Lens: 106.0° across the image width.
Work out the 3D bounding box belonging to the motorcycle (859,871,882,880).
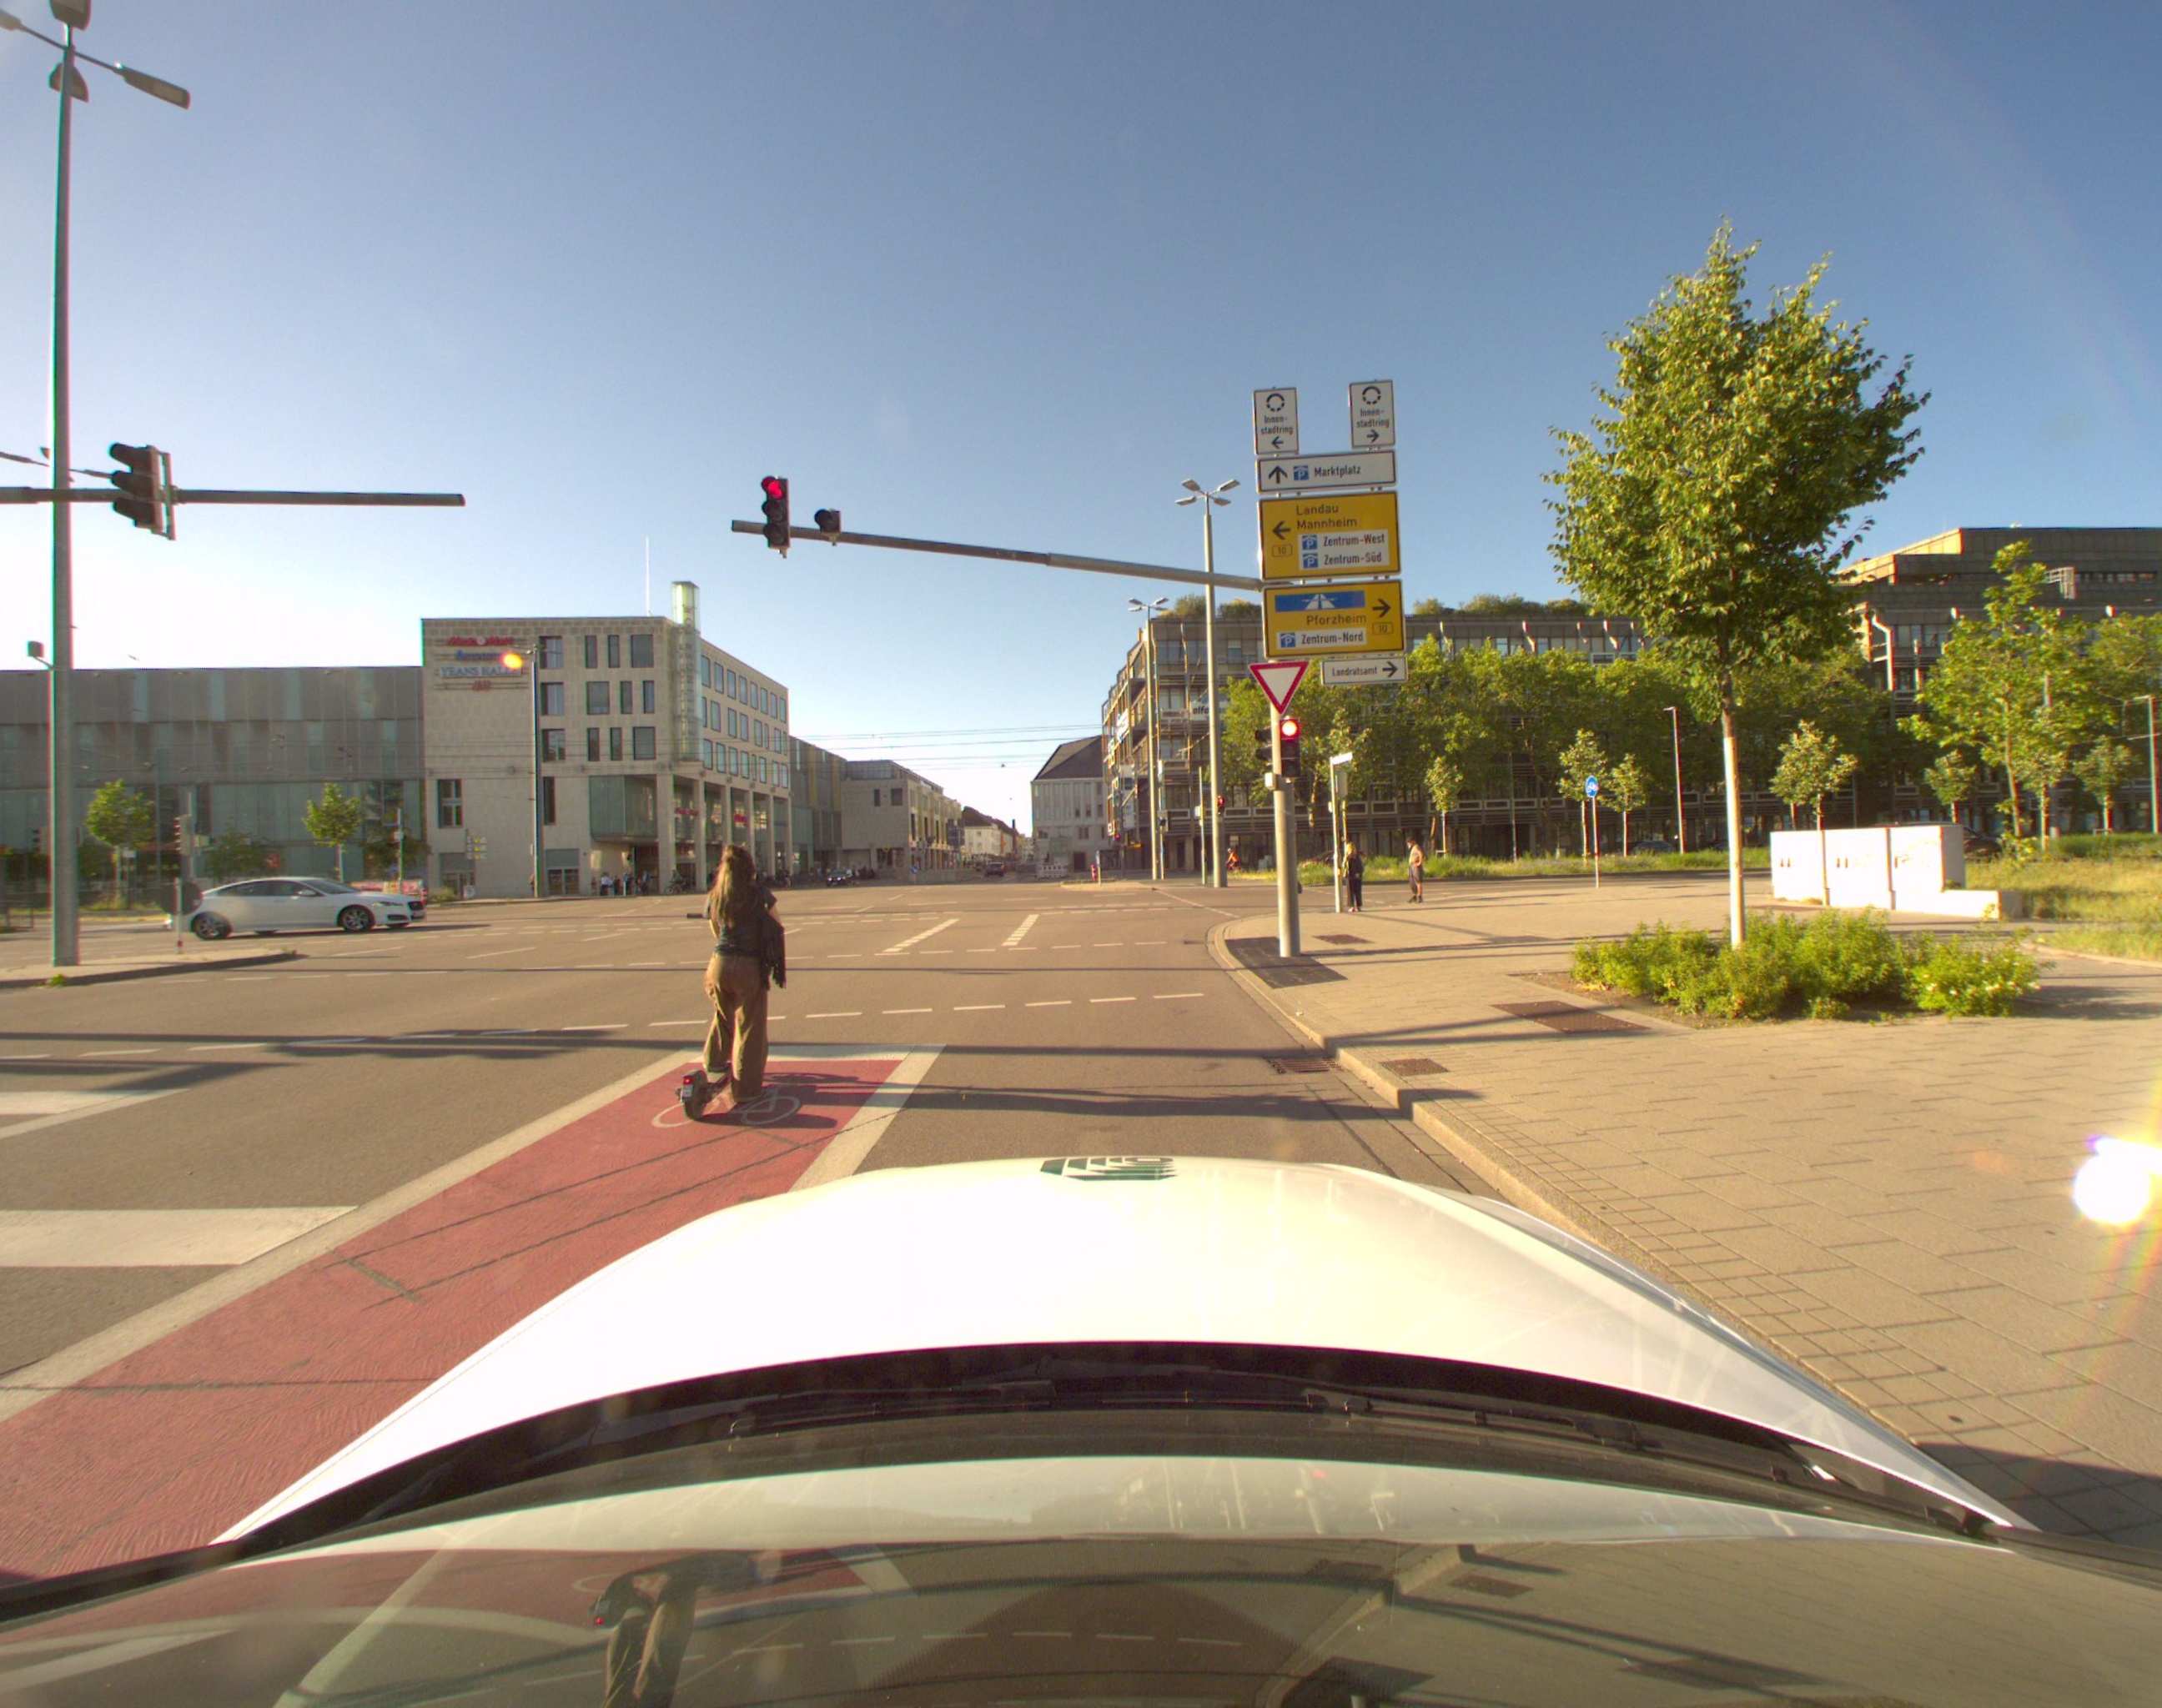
[{"bbox_3d":[-25.546,2.604,98.722,2.600,0.993,1.113,0,-1,-8],"label":"motorcycle"}]

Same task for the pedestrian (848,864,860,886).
[{"bbox_3d":[-17.739,1.657,63.760,0.697,1.688,0.620,-2,0,2],"label":"pedestrian"}]

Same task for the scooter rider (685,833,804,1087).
[{"bbox_3d":[-2.138,0.645,5.218,0.552,1.530,0.448,-2,0,-7],"label":"scooter rider"}]

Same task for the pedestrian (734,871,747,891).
[{"bbox_3d":[-28.141,2.249,67.311,0.771,1.638,0.628,-2,0,16],"label":"pedestrian"}]

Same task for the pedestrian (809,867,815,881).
[{"bbox_3d":[-32.343,2.379,97.940,0.465,1.729,0.524,-1,-1,40],"label":"pedestrian"}]

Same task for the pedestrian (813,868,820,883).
[{"bbox_3d":[-30.899,2.505,95.296,0.465,1.729,0.632,-1,-1,35],"label":"pedestrian"}]

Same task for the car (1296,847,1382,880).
[{"bbox_3d":[14.621,0.526,46.225,4.287,1.684,1.820,-2,0,-9],"label":"car"}]

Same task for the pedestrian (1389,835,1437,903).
[{"bbox_3d":[8.563,0.381,21.016,0.869,1.706,0.768,-2,0,0],"label":"pedestrian"}]

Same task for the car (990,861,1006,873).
[{"bbox_3d":[-11.016,1.748,108.525,1.652,1.458,3.543,-2,0,2],"label":"car"}]

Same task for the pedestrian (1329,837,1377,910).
[{"bbox_3d":[6.303,0.440,18.903,0.763,1.614,0.874,-2,0,0],"label":"pedestrian"}]

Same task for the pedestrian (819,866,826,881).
[{"bbox_3d":[-31.089,2.371,98.060,0.465,1.729,0.632,-1,-1,30],"label":"pedestrian"}]

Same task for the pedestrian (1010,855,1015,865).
[{"bbox_3d":[-13.900,1.187,165.259,0.907,1.965,0.823,0,-1,1],"label":"pedestrian"}]

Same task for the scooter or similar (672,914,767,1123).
[{"bbox_3d":[-2.206,0.957,5.028,0.306,1.107,0.835,-2,0,-9],"label":"scooter or similar"}]

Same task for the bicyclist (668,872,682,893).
[{"bbox_3d":[-28.892,2.024,57.912,0.620,1.448,0.592,-2,0,29],"label":"bicyclist"}]

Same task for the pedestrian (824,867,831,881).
[{"bbox_3d":[-29.945,2.347,96.133,0.465,1.729,0.699,-1,-1,40],"label":"pedestrian"}]

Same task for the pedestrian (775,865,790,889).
[{"bbox_3d":[-24.062,1.846,65.720,0.935,1.864,0.541,-2,0,18],"label":"pedestrian"}]

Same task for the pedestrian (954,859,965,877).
[{"bbox_3d":[-12.471,1.464,83.454,0.896,1.782,0.809,-2,0,1],"label":"pedestrian"}]

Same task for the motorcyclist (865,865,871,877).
[{"bbox_3d":[-25.862,2.088,98.857,0.627,1.406,0.661,0,-1,-7],"label":"motorcyclist"}]

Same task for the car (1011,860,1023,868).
[{"bbox_3d":[-11.458,1.802,146.395,1.652,1.458,3.543,-2,0,2],"label":"car"}]

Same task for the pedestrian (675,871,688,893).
[{"bbox_3d":[-30.481,2.116,62.139,0.590,1.646,0.629,-2,0,1],"label":"pedestrian"}]

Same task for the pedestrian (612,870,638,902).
[{"bbox_3d":[-25.125,1.763,44.908,0.821,1.675,1.004,-2,0,-2],"label":"pedestrian"}]

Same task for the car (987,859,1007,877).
[{"bbox_3d":[-8.600,1.420,83.406,1.815,1.684,3.995,-2,0,-3],"label":"car"}]

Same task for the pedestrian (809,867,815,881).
[{"bbox_3d":[-31.971,2.366,96.742,0.465,1.729,0.524,-1,-1,40],"label":"pedestrian"}]

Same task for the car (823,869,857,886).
[{"bbox_3d":[-20.798,2.002,70.403,1.670,1.357,4.021,-2,0,1],"label":"car"}]

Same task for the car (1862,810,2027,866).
[{"bbox_3d":[31.562,-0.570,29.806,4.820,1.864,1.878,-2,0,-12],"label":"car"}]

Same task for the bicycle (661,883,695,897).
[{"bbox_3d":[-28.700,2.555,58.006,0.629,0.903,2.231,-2,0,26],"label":"bicycle"}]

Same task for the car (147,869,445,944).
[{"bbox_3d":[-19.656,1.262,20.690,5.088,1.564,1.991,-2,0,-13],"label":"car"}]

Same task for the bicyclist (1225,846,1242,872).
[{"bbox_3d":[8.825,0.306,47.068,0.820,1.474,0.652,-2,0,-2],"label":"bicyclist"}]

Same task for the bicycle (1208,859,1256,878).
[{"bbox_3d":[8.717,0.818,47.053,2.561,0.975,1.047,-2,0,-1],"label":"bicycle"}]
